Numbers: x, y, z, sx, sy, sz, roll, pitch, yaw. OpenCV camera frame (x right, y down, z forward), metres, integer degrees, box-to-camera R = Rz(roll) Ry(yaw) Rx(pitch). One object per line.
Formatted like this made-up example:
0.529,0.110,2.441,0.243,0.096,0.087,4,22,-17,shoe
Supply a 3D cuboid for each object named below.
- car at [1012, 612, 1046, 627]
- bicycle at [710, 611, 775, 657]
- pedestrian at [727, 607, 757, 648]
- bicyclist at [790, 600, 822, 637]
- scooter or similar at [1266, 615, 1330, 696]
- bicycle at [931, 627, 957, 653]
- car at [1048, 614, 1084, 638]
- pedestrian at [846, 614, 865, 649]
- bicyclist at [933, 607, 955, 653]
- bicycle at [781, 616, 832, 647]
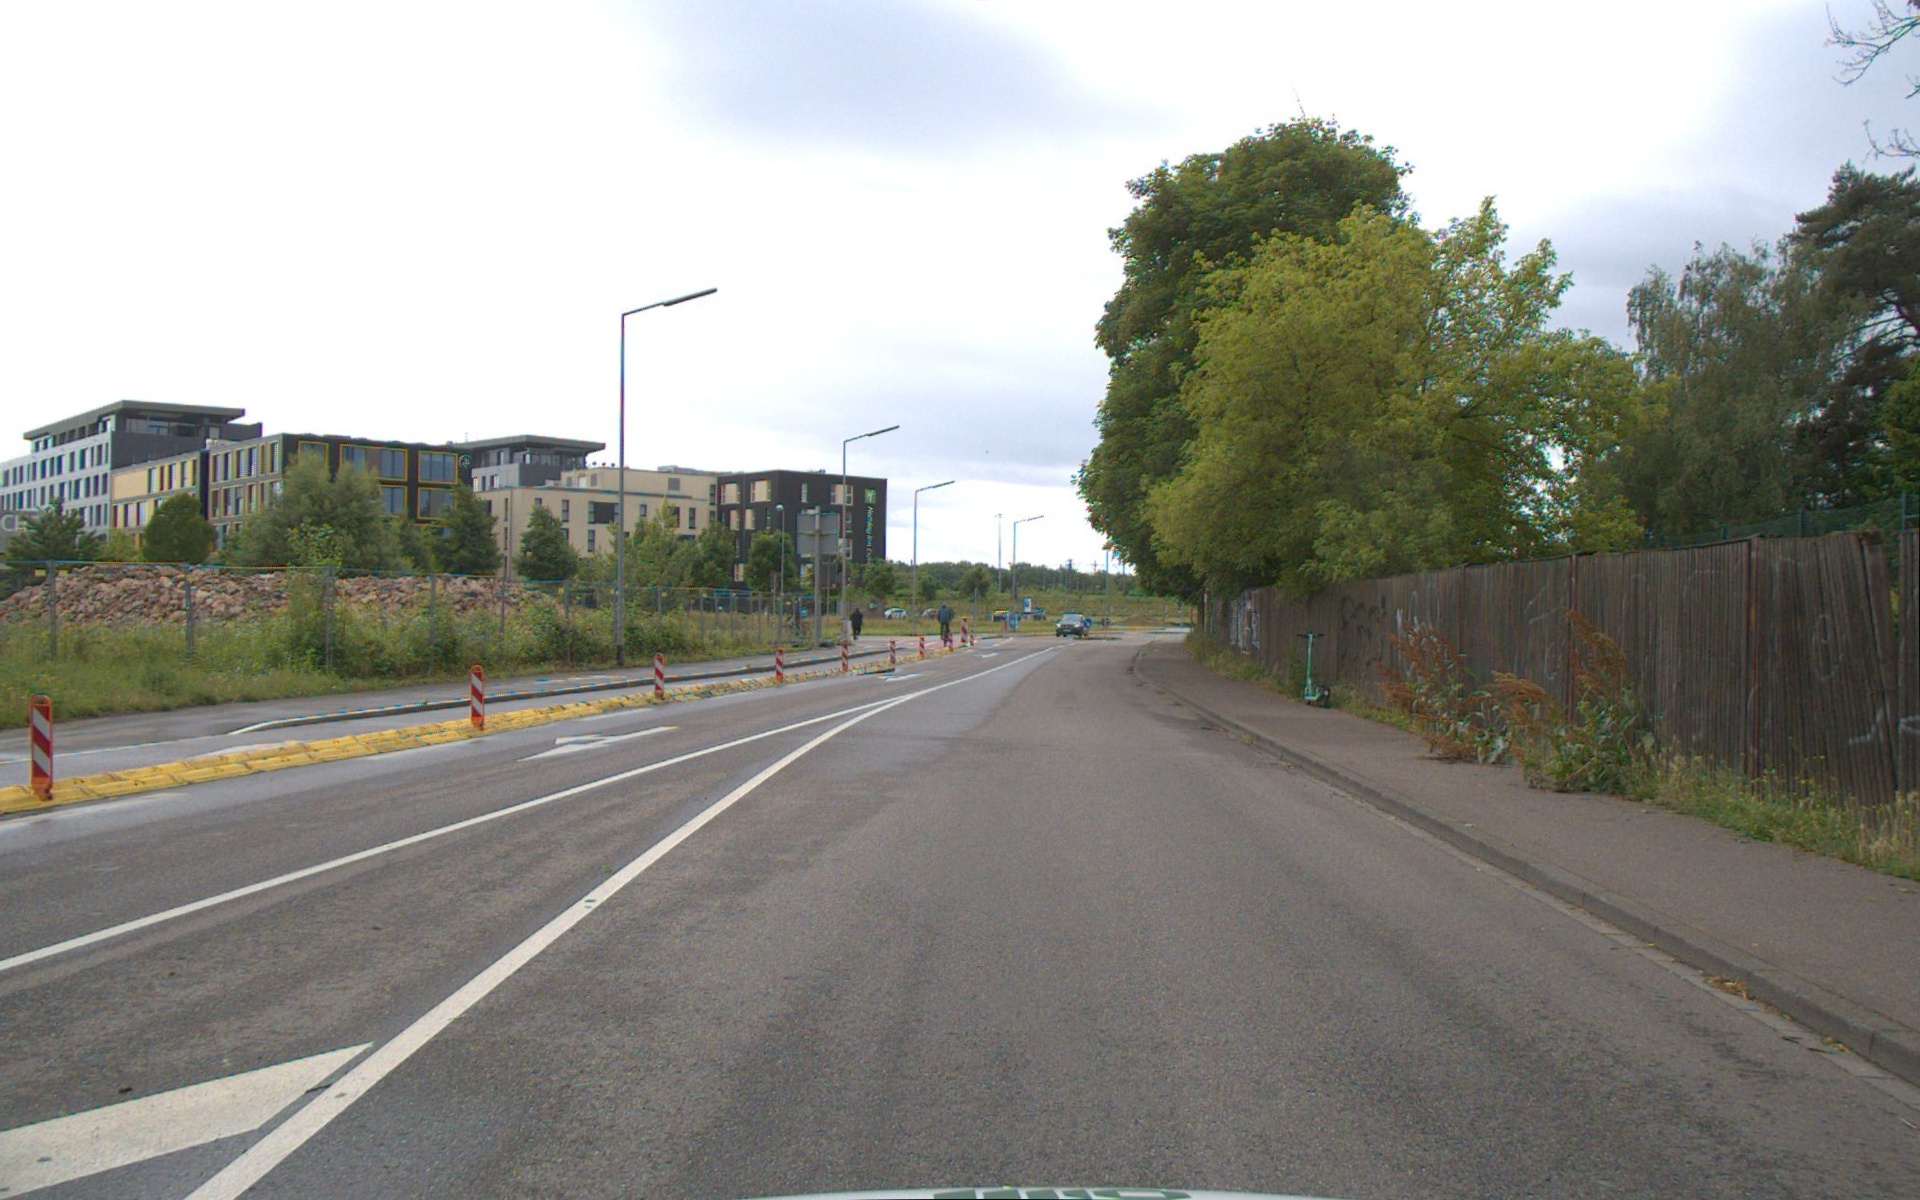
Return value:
8.514,2.421,204.477,1.981,1.855,3.942,1,0,-40,car
-10.066,1.578,76.503,3.063,2.049,0.674,1,0,22,bicycle
-10.065,1.260,76.499,1.148,1.879,0.735,1,0,22,pedestrian
-8.146,0.991,87.352,1.380,1.932,1.069,1,0,-25,bicyclist
5.992,0.960,29.407,0.676,1.335,2.353,1,0,1,scooter or similar
-0.705,1.784,74.533,0.865,1.071,2.471,1,0,7,bicycle
7.524,1.803,116.969,1.841,1.594,4.361,1,0,14,car
-5.490,1.668,87.027,0.826,1.814,1.077,1,0,3,pedestrian
-0.712,1.338,74.501,0.843,2.049,1.178,1,0,7,bicyclist
-8.115,1.647,87.374,2.459,1.612,1.078,1,0,-25,bicycle
